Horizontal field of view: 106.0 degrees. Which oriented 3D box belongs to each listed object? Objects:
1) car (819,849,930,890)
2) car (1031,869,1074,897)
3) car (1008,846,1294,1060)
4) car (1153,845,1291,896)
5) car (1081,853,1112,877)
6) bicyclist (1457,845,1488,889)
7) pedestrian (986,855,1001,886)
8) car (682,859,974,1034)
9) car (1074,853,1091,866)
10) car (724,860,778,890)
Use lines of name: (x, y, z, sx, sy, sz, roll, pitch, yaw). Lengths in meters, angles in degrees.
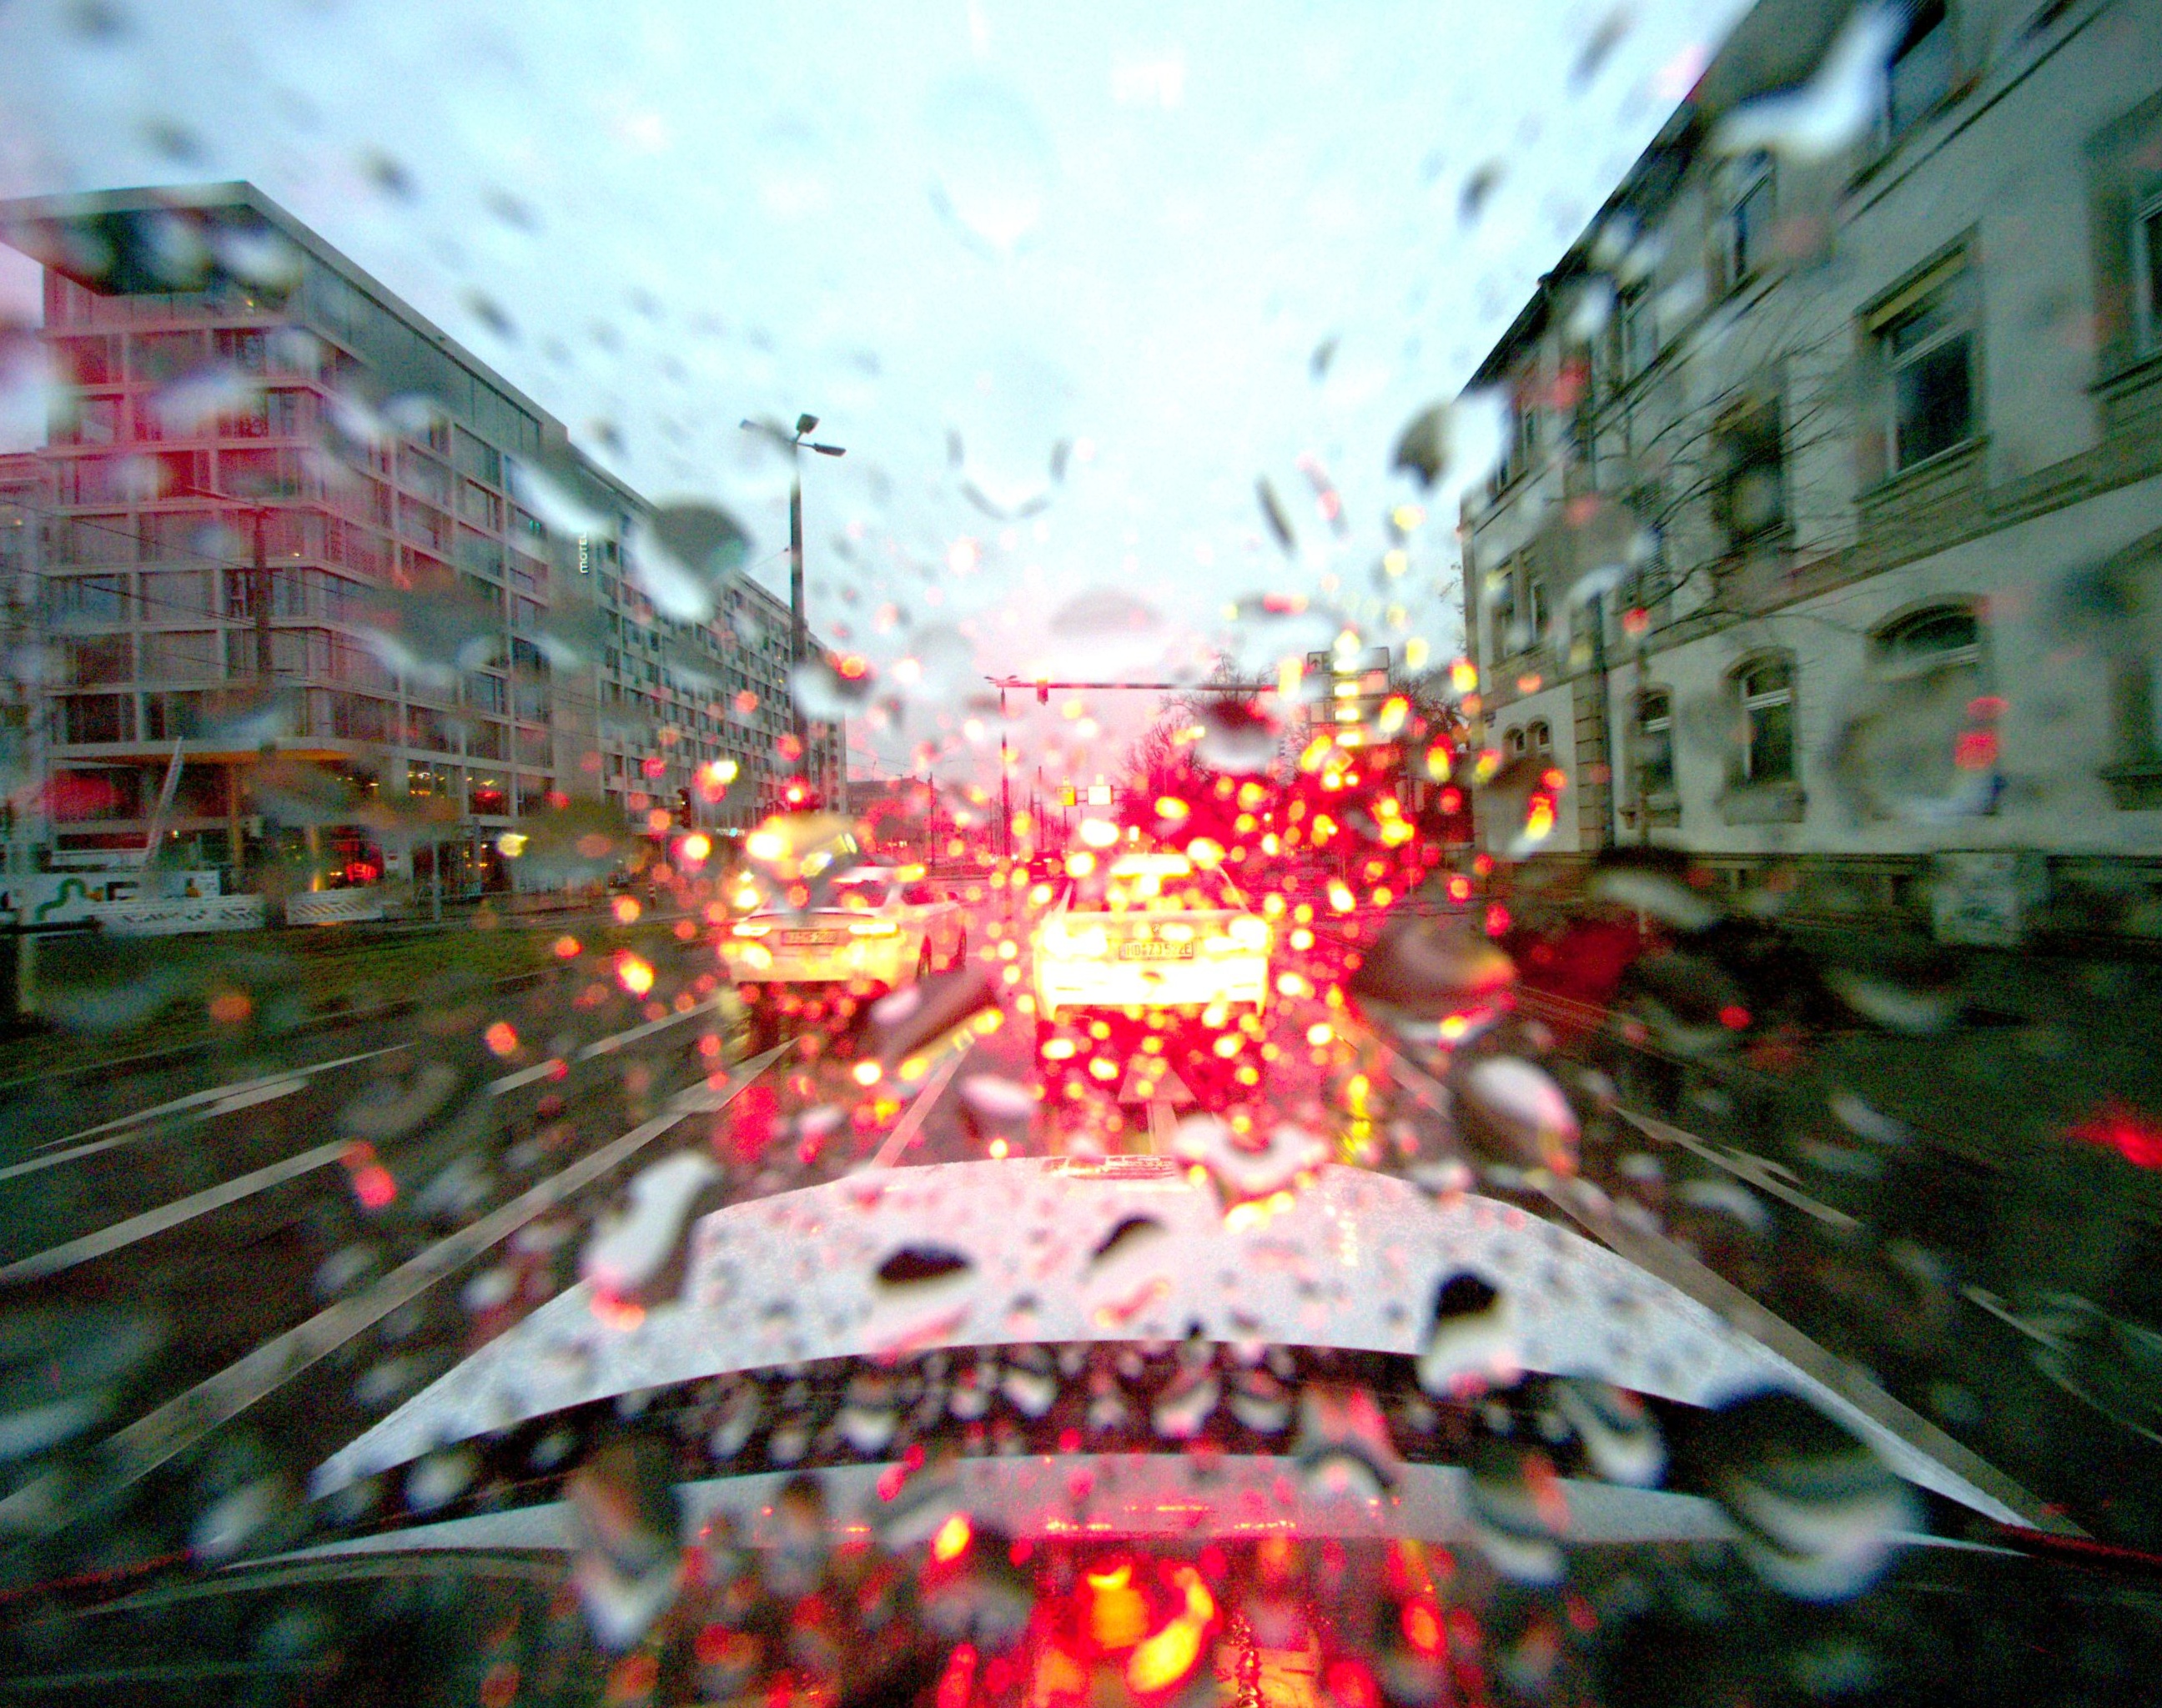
car: (-9.271, 0.697, 36.541, 4.652, 1.720, 1.912, -2, -1, 25)
car: (-1.631, 1.706, 48.657, 1.832, 1.609, 3.955, -1, -1, 9)
car: (0.493, 0.682, 7.944, 1.987, 1.456, 4.367, -1, 0, 0)
car: (5.180, 0.614, 29.915, 4.655, 1.720, 1.878, -1, -1, 21)
car: (1.024, 0.764, 56.226, 1.839, 1.609, 3.939, 0, -1, -4)
bicyclist: (15.933, 0.537, 33.163, 0.964, 1.759, 0.817, -1, -1, 16)
pedestrian: (-5.292, 0.990, 49.139, 0.902, 1.856, 0.810, 0, -1, -7)
car: (-2.541, 0.838, 9.447, 1.987, 1.456, 4.367, -1, 0, 0)
car: (0.178, 0.691, 100.362, 1.987, 1.456, 4.367, -1, 0, 0)
car: (-17.911, 1.095, 44.080, 1.770, 1.530, 4.280, 0, -1, -35)
